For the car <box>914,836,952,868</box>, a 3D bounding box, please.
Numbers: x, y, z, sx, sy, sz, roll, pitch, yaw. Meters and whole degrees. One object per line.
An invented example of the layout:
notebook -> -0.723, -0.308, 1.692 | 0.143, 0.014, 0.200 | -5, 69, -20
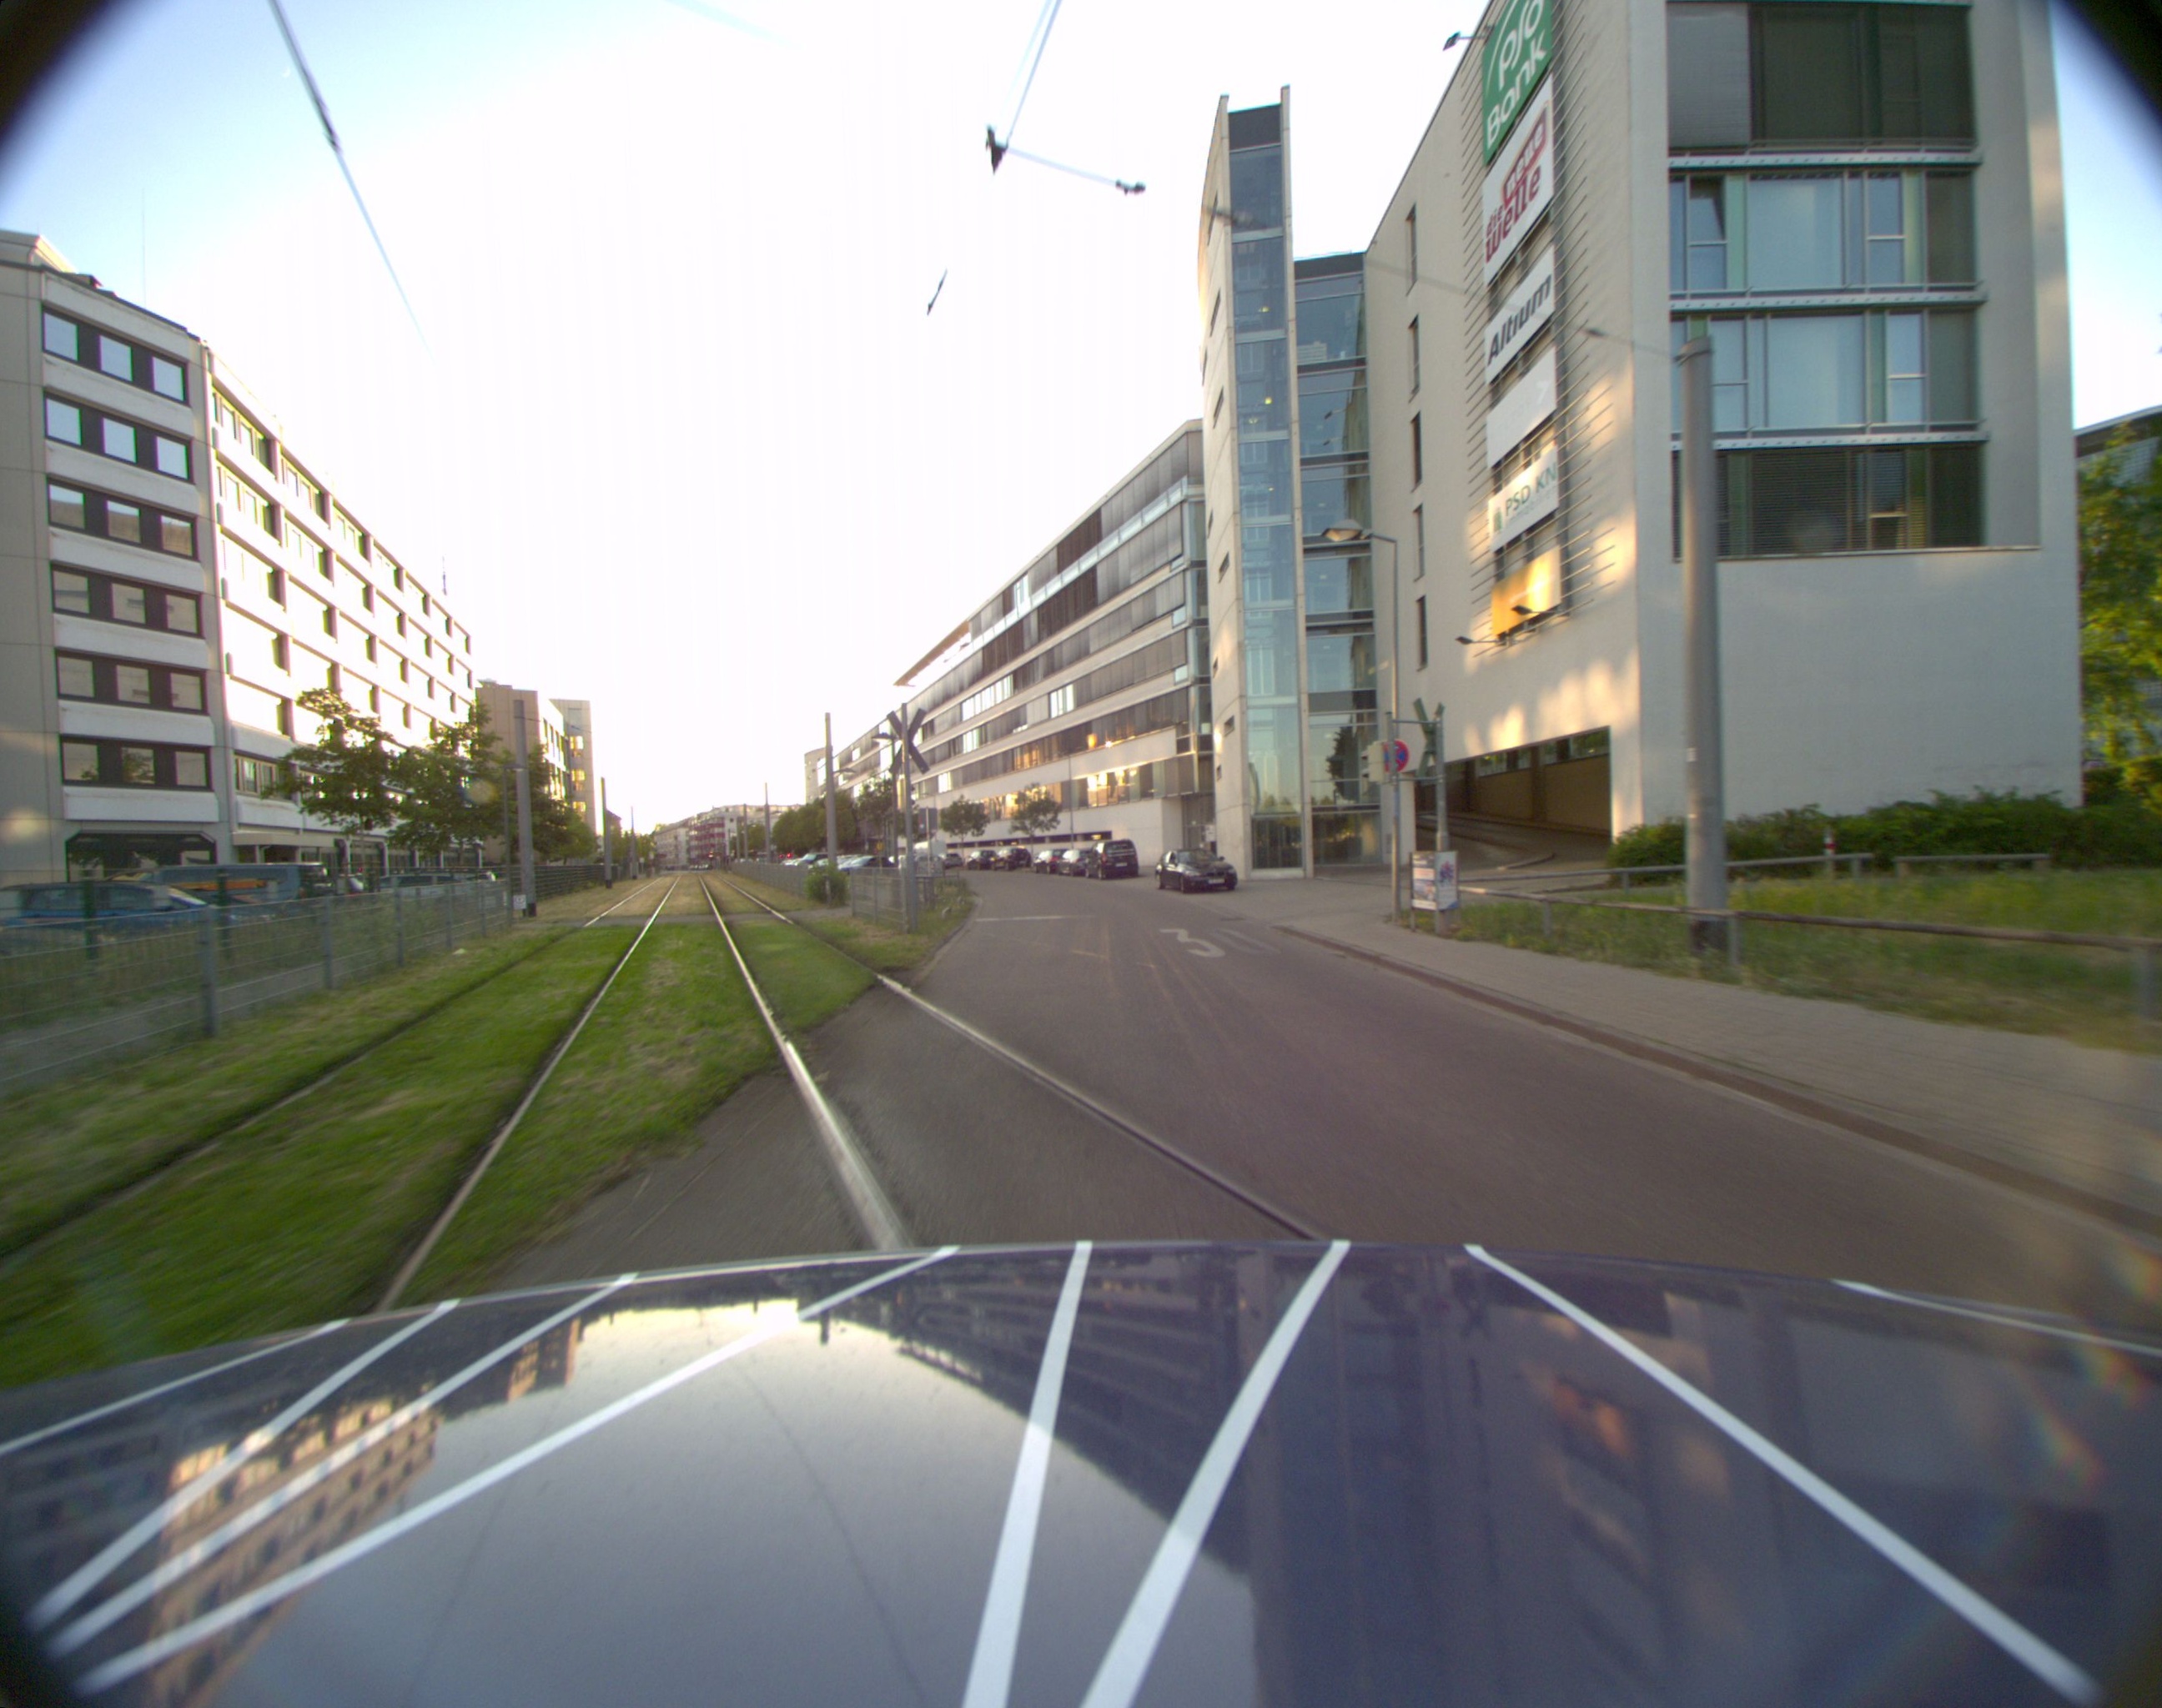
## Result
car -> -14.151, -0.145, 72.520 | 2.008, 2.859, 6.242 | -1, 0, -26

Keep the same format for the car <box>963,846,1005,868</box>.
car -> -7.664, 0.243, 59.615 | 1.800, 1.542, 3.991 | -4, 1, -29

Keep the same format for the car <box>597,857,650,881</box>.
car -> -41.277, 1.326, 68.661 | 4.005, 2.002, 1.996 | -2, 0, -29

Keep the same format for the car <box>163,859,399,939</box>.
car -> -23.289, 1.244, 22.398 | 4.279, 2.002, 1.996 | -2, 1, -25

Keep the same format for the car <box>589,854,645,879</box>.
car -> -40.199, 1.081, 65.961 | 4.005, 2.002, 1.996 | -2, 0, -29

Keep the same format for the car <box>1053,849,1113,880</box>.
car -> 0.034, 0.542, 41.108 | 1.867, 1.468, 4.513 | -4, 1, -17

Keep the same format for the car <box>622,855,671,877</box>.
car -> -42.327, 1.182, 74.105 | 4.005, 2.002, 1.996 | -2, 0, -29

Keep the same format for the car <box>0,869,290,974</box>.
car -> -21.238, 1.440, 17.273 | 4.005, 2.002, 1.996 | -2, 0, -25

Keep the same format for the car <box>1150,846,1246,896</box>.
car -> 3.796, 0.531, 25.446 | 1.859, 1.434, 4.224 | -4, 0, -10

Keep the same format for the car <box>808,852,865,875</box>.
car -> -18.753, 0.714, 58.476 | 1.713, 1.634, 4.007 | -2, 0, 28

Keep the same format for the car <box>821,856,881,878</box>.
car -> -16.170, 0.870, 53.600 | 1.714, 1.368, 4.006 | -2, 0, 26

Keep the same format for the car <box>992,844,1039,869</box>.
car -> -4.723, 0.167, 53.976 | 1.800, 1.676, 3.991 | -3, 1, -29

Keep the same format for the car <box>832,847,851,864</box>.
car -> -37.451, 0.300, 118.677 | 2.003, 2.570, 3.991 | -3, 1, -28

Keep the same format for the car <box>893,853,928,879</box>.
car -> -10.497, 0.707, 46.683 | 1.633, 1.503, 3.412 | -2, 0, -20

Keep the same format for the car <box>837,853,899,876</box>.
car -> -14.053, 0.688, 50.322 | 1.714, 1.368, 4.006 | -2, 0, 26

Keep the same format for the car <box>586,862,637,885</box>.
car -> -45.482, 1.866, 73.647 | 4.005, 2.002, 1.996 | -2, 0, -29

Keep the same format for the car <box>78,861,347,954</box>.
car -> -22.013, 1.275, 19.529 | 4.005, 2.002, 1.996 | -2, 1, -25

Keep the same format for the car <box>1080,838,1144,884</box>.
car -> 1.411, 0.341, 36.477 | 1.895, 1.961, 4.513 | -4, 0, -11

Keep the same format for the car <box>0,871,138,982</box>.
car -> -19.032, 1.237, 12.418 | 4.004, 1.739, 1.996 | -2, 0, -23

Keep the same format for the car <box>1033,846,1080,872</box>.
car -> -1.519, 0.310, 45.846 | 1.655, 1.468, 3.760 | -2, 0, -20

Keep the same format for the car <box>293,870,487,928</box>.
car -> -22.955, 1.450, 25.488 | 4.411, 1.584, 1.814 | -2, 1, -25

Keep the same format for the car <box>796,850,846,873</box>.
car -> -23.724, 0.691, 69.373 | 1.713, 1.948, 4.180 | -2, 0, 28

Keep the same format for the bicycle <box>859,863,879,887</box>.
bicycle -> -10.366, 1.007, 37.192 | 0.542, 1.128, 1.924 | -2, 0, -5

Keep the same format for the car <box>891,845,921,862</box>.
car -> -16.587, -0.038, 71.872 | 1.863, 1.488, 4.665 | 1, -1, -24

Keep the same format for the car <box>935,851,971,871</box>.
car -> -11.391, 0.655, 67.389 | 1.800, 1.692, 3.990 | -1, 0, -31
